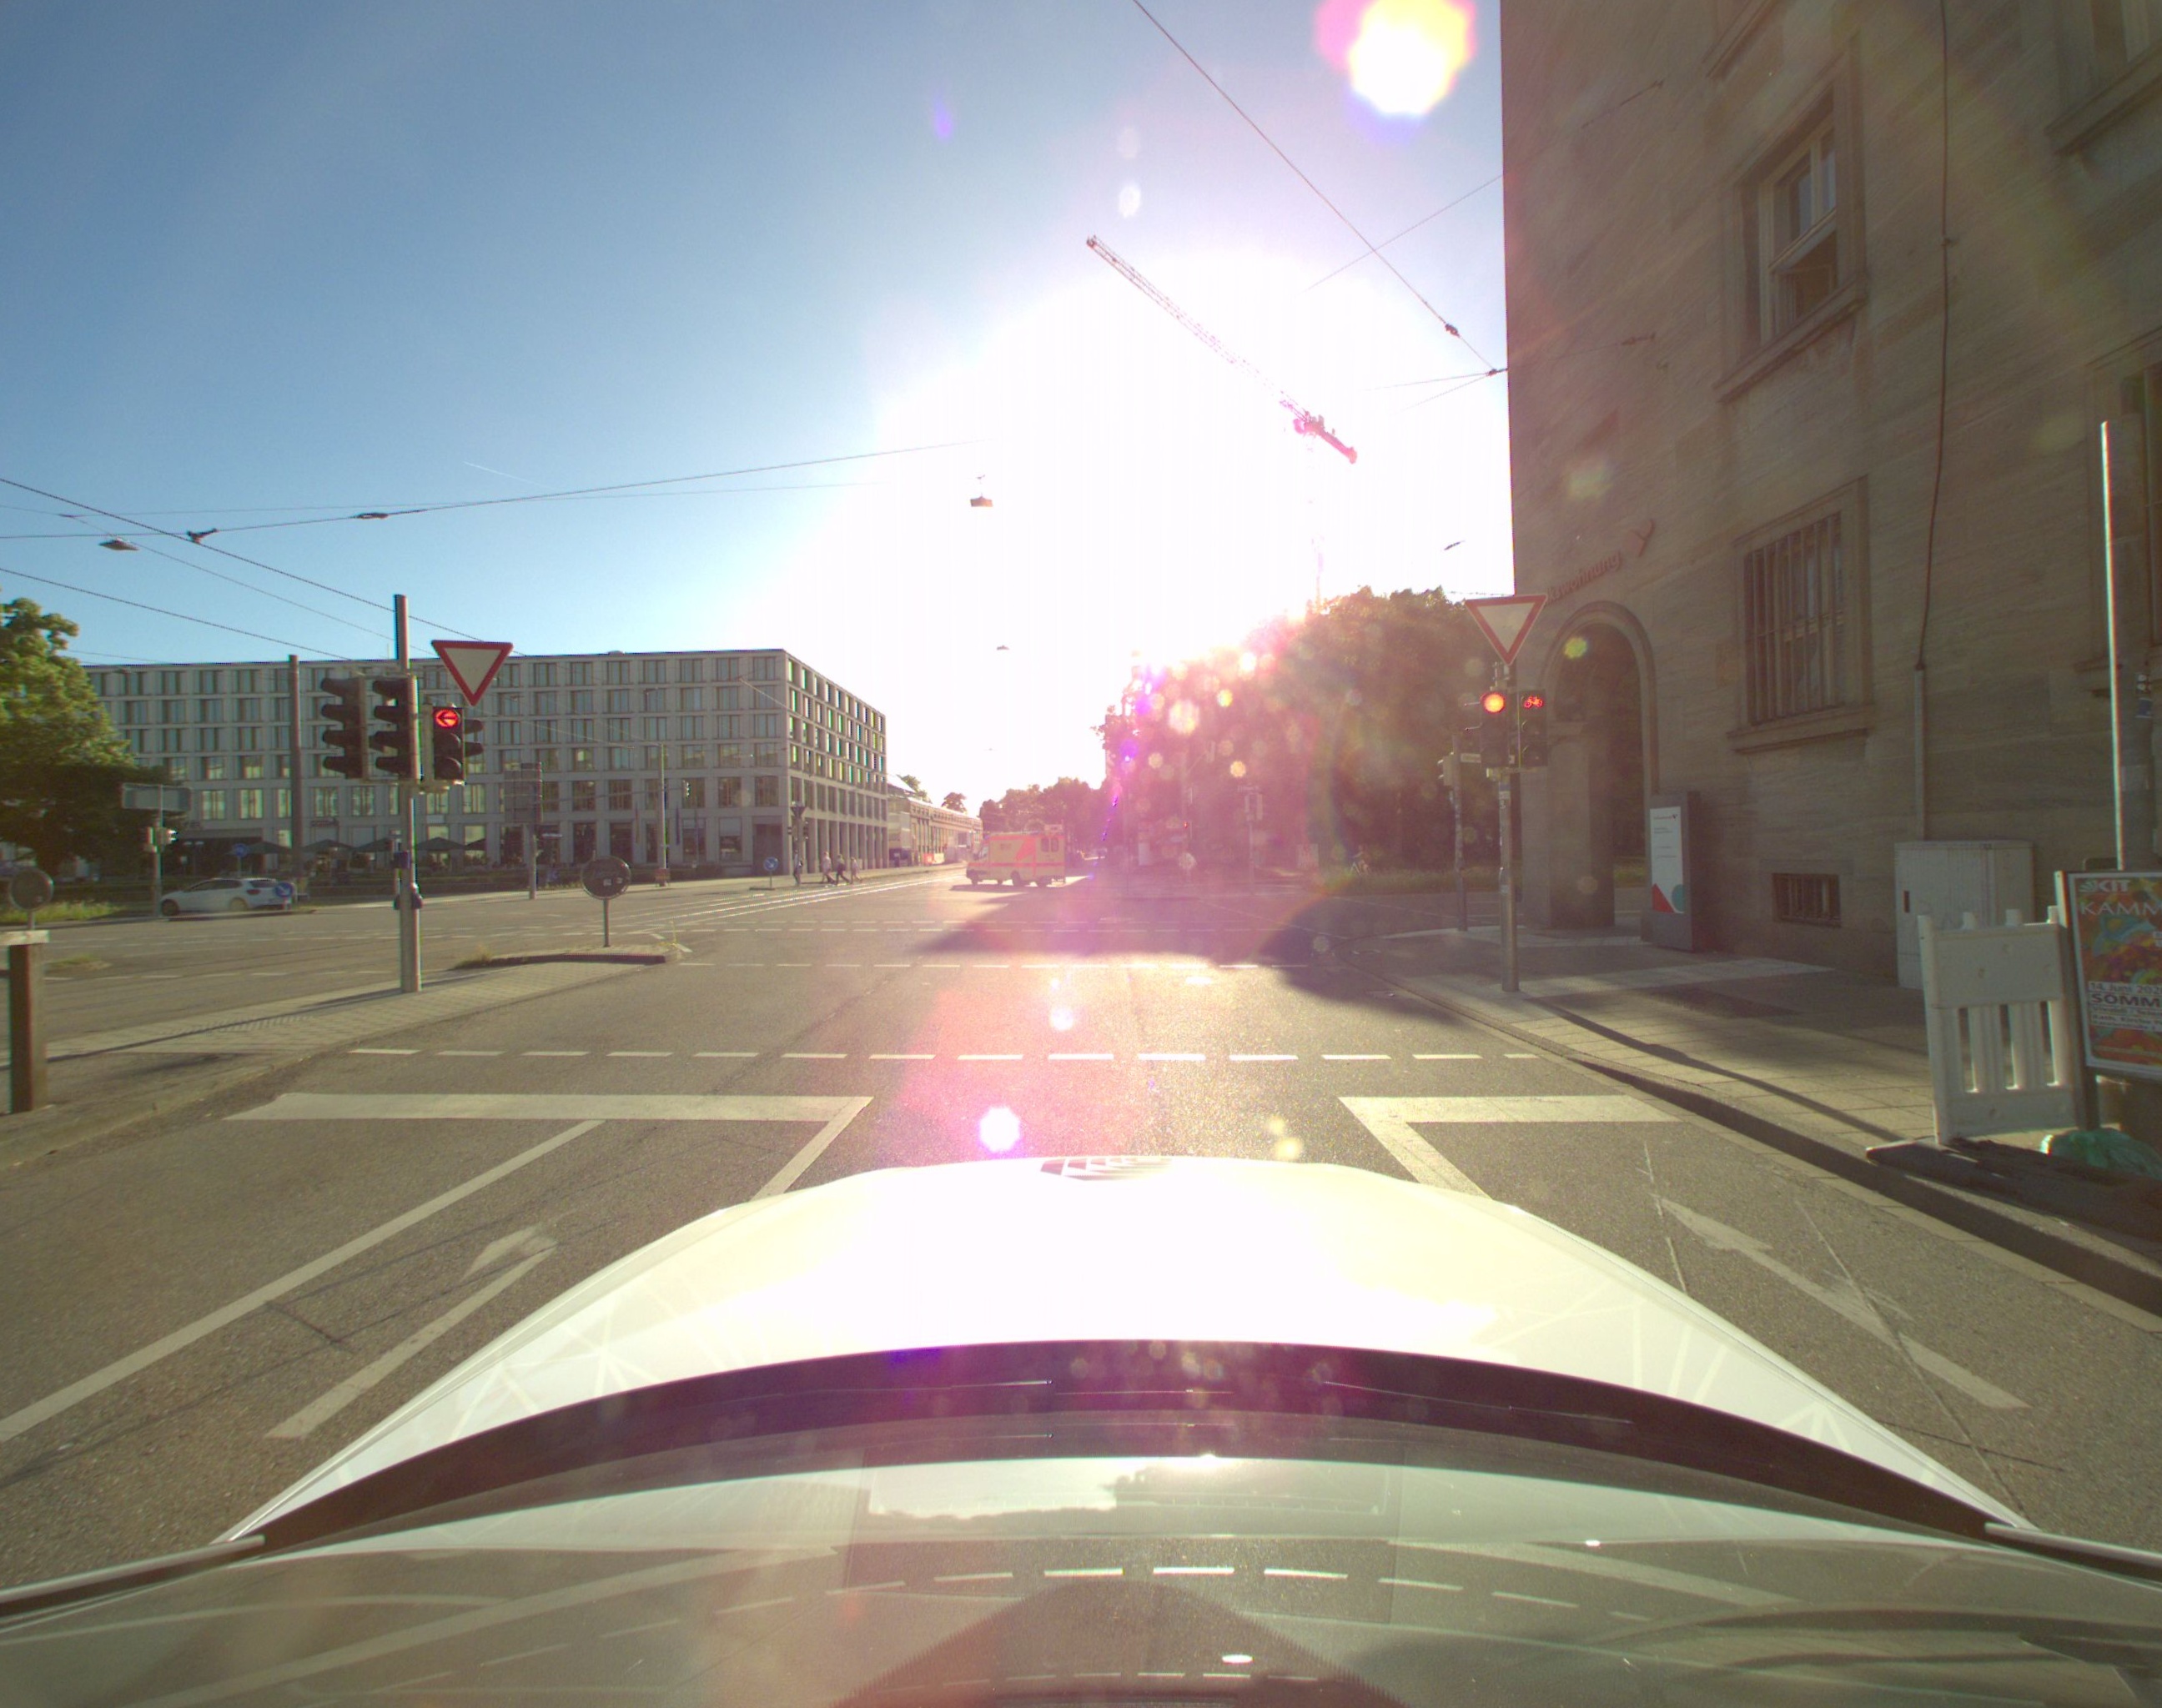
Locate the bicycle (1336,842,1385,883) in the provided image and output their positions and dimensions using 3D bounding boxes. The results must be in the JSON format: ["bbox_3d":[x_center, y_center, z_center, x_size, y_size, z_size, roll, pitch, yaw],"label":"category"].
[{"bbox_3d":[12.203,0.371,35.606,1.888,1.735,0.598,-2,0,5],"label":"bicycle"}]

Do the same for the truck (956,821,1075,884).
[{"bbox_3d":[-3.540,-0.039,42.589,2.741,3.016,6.410,-1,0,-43],"label":"truck"}]

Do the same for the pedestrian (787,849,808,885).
[{"bbox_3d":[-15.281,0.716,43.875,0.797,1.918,0.638,-2,0,7],"label":"pedestrian"}]

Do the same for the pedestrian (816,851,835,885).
[{"bbox_3d":[-14.103,0.761,44.974,0.735,1.803,0.717,-2,0,7],"label":"pedestrian"}]

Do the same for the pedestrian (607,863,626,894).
[{"bbox_3d":[-25.776,1.354,45.180,0.692,1.644,0.621,-2,0,-3],"label":"pedestrian"}]

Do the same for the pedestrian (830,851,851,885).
[{"bbox_3d":[-13.145,0.748,44.495,0.865,1.803,0.665,-2,0,7],"label":"pedestrian"}]

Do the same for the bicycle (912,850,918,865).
[{"bbox_3d":[-26.705,0.542,131.044,0.569,2.296,1.422,-2,0,0],"label":"bicycle"}]

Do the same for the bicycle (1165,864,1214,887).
[{"bbox_3d":[4.751,0.942,35.818,2.058,0.933,0.575,-2,0,0],"label":"bicycle"}]

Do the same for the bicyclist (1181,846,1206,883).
[{"bbox_3d":[4.956,0.451,35.826,0.971,1.560,0.575,-2,0,0],"label":"bicyclist"}]

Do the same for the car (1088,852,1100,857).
[{"bbox_3d":[3.354,0.007,211.443,3.205,1.263,1.374,0,-1,2],"label":"car"}]

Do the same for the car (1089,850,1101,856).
[{"bbox_3d":[3.633,-0.201,213.650,3.207,1.588,1.445,0,-1,-3],"label":"car"}]

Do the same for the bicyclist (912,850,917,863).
[{"bbox_3d":[-26.713,0.425,130.989,0.569,2.024,0.762,-2,0,0],"label":"bicyclist"}]

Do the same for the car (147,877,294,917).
[{"bbox_3d":[-34.128,1.680,32.370,4.030,1.434,1.631,-2,-2,-1],"label":"car"}]

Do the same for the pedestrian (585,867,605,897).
[{"bbox_3d":[-26.663,1.532,44.677,0.687,1.644,0.625,-2,0,33],"label":"pedestrian"}]

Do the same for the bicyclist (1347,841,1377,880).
[{"bbox_3d":[12.270,0.285,35.596,1.069,1.641,0.598,-2,0,5],"label":"bicyclist"}]

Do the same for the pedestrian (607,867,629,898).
[{"bbox_3d":[-25.054,1.522,44.094,0.790,1.644,0.621,-2,0,-3],"label":"pedestrian"}]

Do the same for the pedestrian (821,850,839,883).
[{"bbox_3d":[-14.129,0.711,45.844,0.735,1.803,0.533,-2,0,7],"label":"pedestrian"}]

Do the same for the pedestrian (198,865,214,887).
[{"bbox_3d":[-66.419,1.696,61.805,0.538,1.669,0.561,0,-1,-2],"label":"pedestrian"}]

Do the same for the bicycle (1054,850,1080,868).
[{"bbox_3d":[-1.424,0.526,81.588,2.538,1.743,1.038,0,-1,1],"label":"bicycle"}]

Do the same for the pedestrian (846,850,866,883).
[{"bbox_3d":[-12.552,0.692,45.398,0.865,1.803,0.533,-2,0,7],"label":"pedestrian"}]
